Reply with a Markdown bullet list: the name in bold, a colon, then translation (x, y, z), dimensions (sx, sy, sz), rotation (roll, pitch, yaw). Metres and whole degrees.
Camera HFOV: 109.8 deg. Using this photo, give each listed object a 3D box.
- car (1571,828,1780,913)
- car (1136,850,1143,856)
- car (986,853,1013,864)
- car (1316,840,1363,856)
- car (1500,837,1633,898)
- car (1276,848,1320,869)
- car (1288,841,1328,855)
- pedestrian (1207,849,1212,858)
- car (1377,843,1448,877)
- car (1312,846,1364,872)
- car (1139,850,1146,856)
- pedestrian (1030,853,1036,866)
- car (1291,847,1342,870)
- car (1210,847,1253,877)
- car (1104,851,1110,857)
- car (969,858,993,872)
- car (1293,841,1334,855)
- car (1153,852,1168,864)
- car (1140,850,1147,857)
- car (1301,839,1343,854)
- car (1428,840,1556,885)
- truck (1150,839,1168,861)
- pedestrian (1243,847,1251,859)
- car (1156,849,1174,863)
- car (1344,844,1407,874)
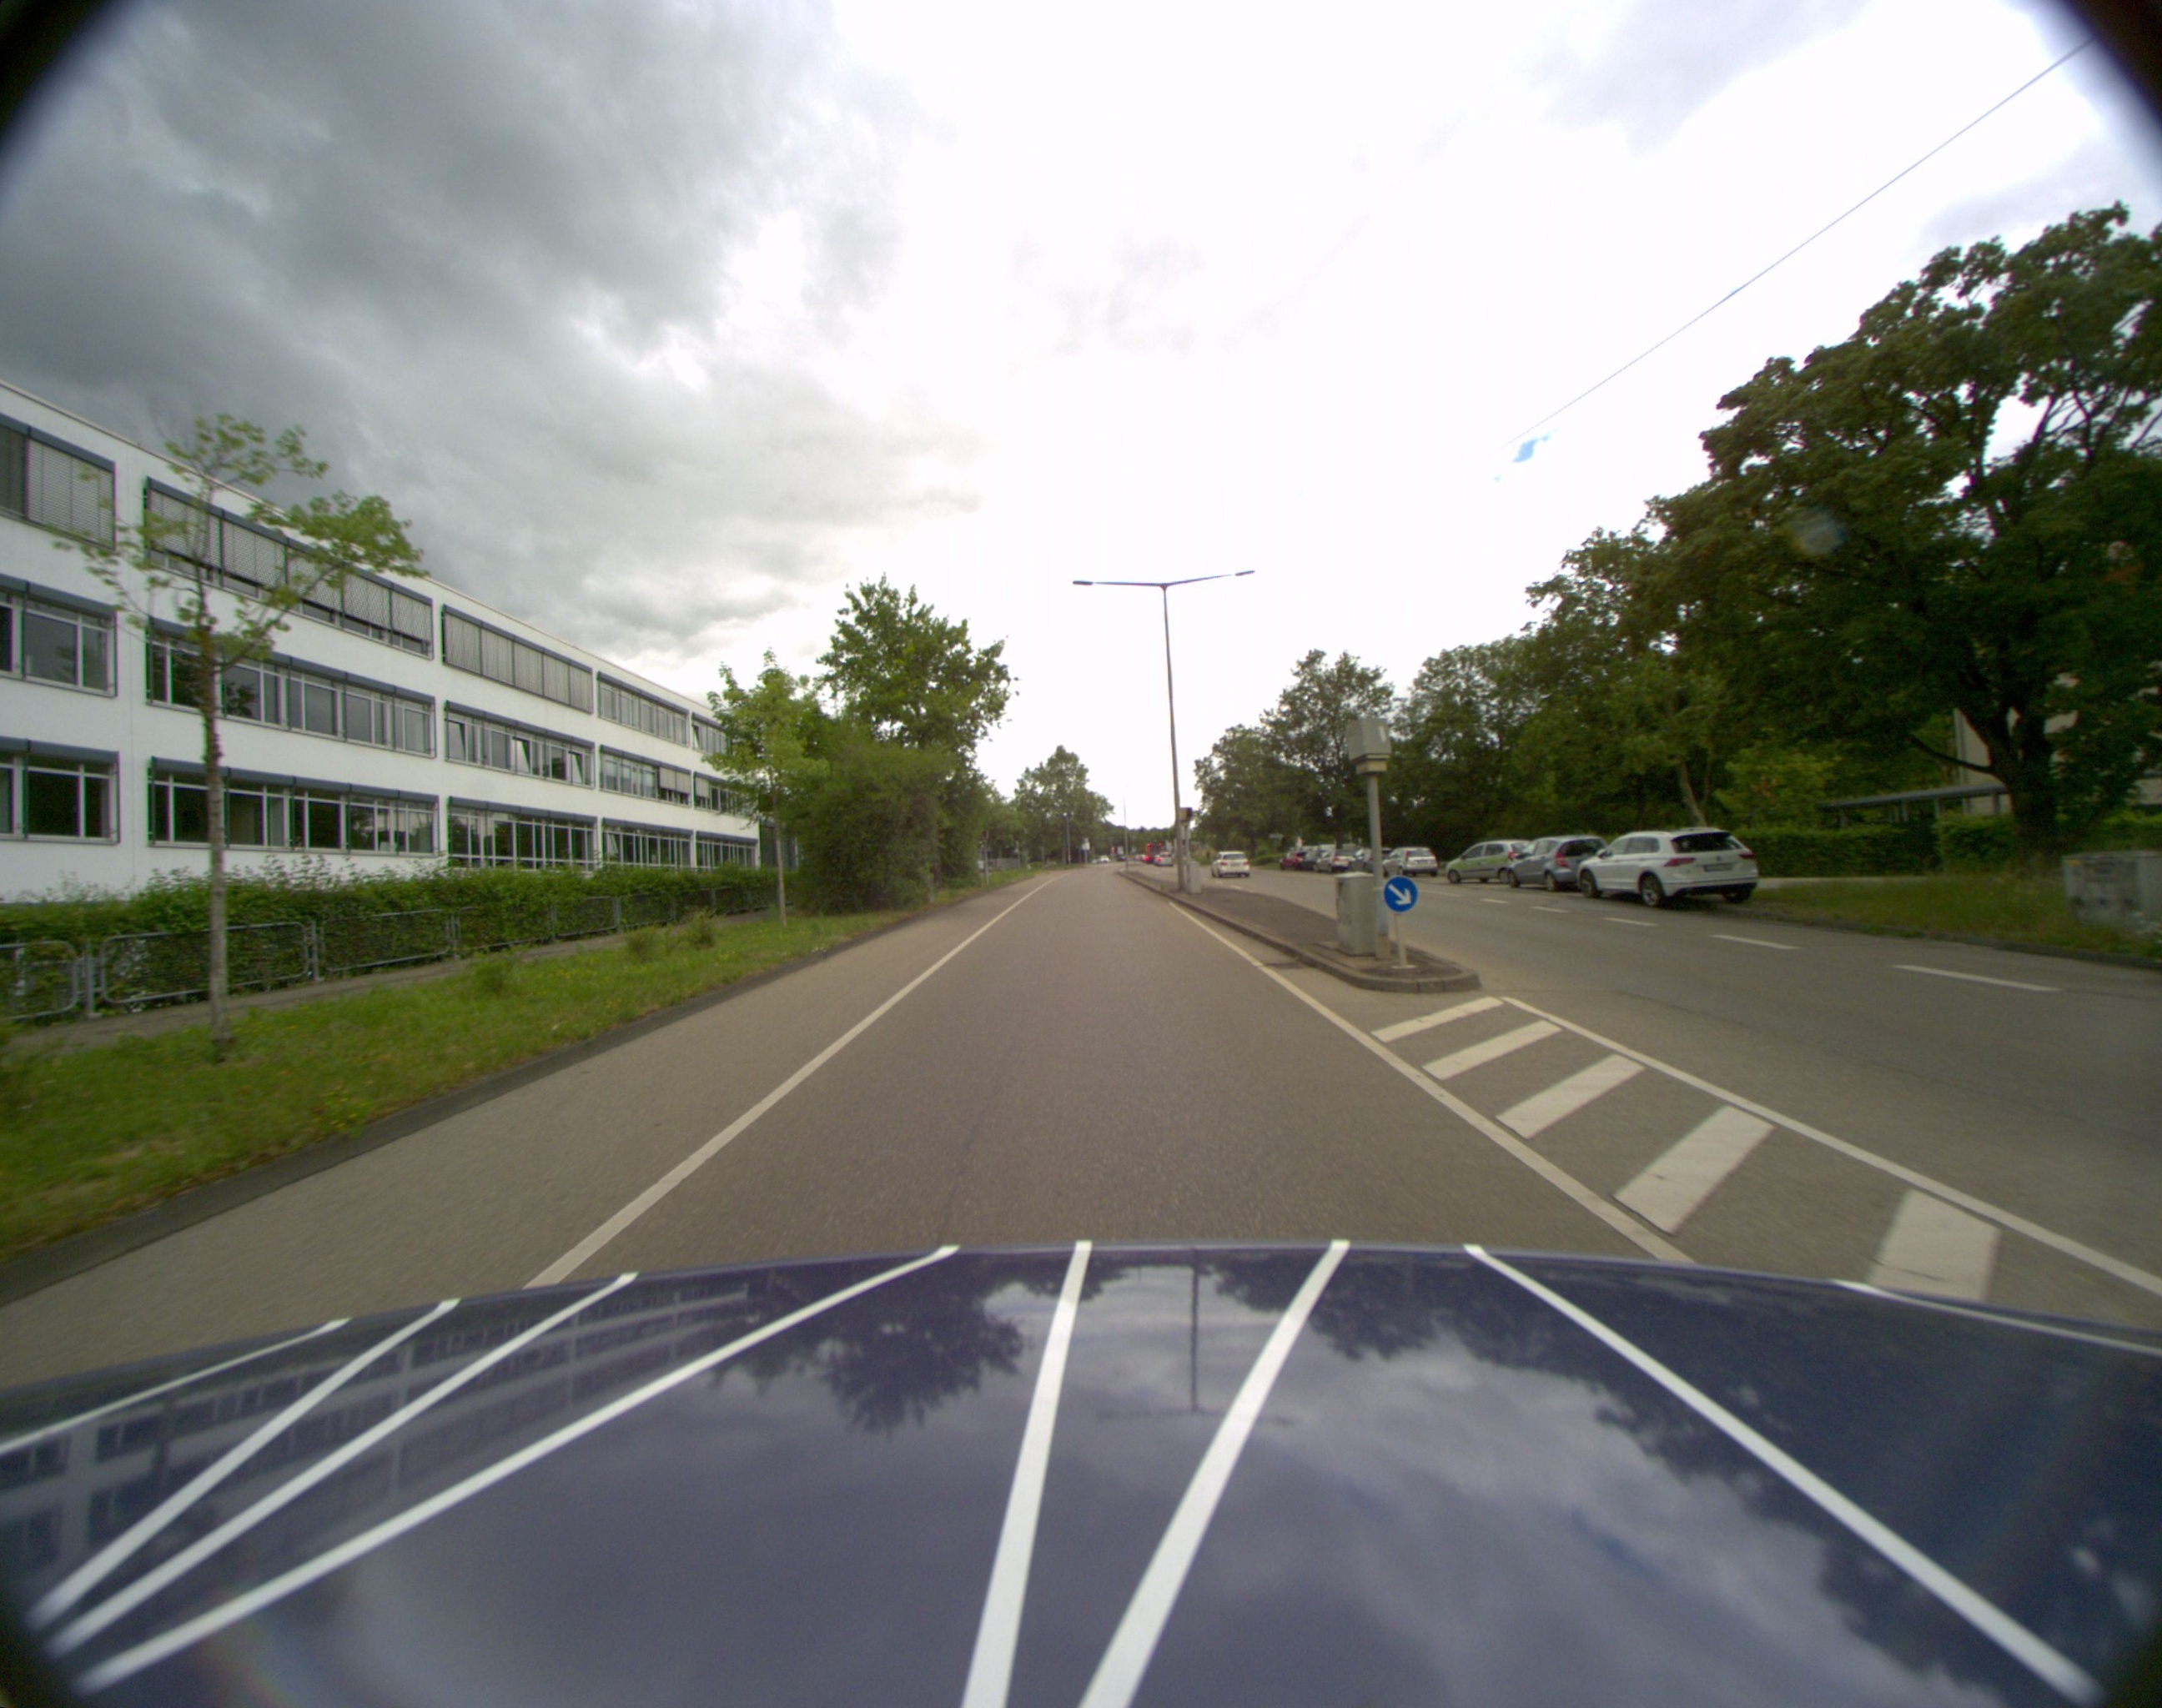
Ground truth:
- **car**: translation (13.558, 0.315, 17.723), dimensions (1.879, 1.657, 4.393), rotation (-3, 1, 8)
- **car**: translation (15.038, -0.226, 195.562), dimensions (1.591, 1.608, 3.585), rotation (-2, 0, 5)
- **car**: translation (-13.535, 0.827, 126.329), dimensions (4.188, 1.439, 1.819), rotation (-5, -1, 0)
- **car**: translation (32.892, -0.755, 96.777), dimensions (5.297, 2.002, 2.011), rotation (-1, 1, 0)
- **car**: translation (14.560, 0.344, 23.064), dimensions (1.879, 1.587, 4.001), rotation (-3, 1, 8)
- **car**: translation (16.521, 0.333, 58.044), dimensions (1.881, 1.498, 3.886), rotation (-3, 0, -6)
- **car**: translation (32.955, -0.826, 110.183), dimensions (5.297, 2.002, 1.739), rotation (-1, 1, 0)
- **pedestrian**: translation (21.137, -0.161, 124.969), dimensions (0.757, 1.439, 0.639), rotation (-3, 1, 1)
- **car**: translation (16.234, 0.287, 37.467), dimensions (1.879, 1.498, 4.001), rotation (-2, 0, 3)
- **car**: translation (16.209, 0.315, 48.179), dimensions (1.880, 1.498, 4.056), rotation (-3, 0, 0)
- **car**: translation (15.432, -0.270, 189.751), dimensions (1.591, 1.608, 3.585), rotation (-2, 0, 5)
- **pedestrian**: translation (-6.616, 0.728, 105.186), dimensions (0.734, 1.717, 0.501), rotation (-1, 1, -2)
- **car**: translation (16.617, 0.303, 53.794), dimensions (1.881, 1.498, 3.997), rotation (-3, 0, -8)
- **car**: translation (8.960, 0.461, 45.488), dimensions (1.879, 1.561, 4.339), rotation (-3, 1, 3)
- **car**: translation (6.885, 0.021, 201.432), dimensions (1.591, 1.480, 3.583), rotation (-2, 0, 0)
- **car**: translation (-11.326, 1.273, 86.238), dimensions (1.851, 1.408, 4.981), rotation (-4, 0, 2)
- **car**: translation (32.998, -0.863, 108.121), dimensions (5.297, 2.002, 1.739), rotation (-1, 1, 0)
- **car**: translation (10.985, 0.534, 104.674), dimensions (1.733, 1.477, 4.123), rotation (-1, 0, 2)
- **car**: translation (14.528, -0.040, 176.536), dimensions (1.591, 1.608, 3.585), rotation (-2, 0, 5)
- **car**: translation (33.214, -1.021, 104.846), dimensions (5.297, 2.002, 1.739), rotation (-1, 1, 1)
- **car**: translation (15.301, 0.322, 28.531), dimensions (1.882, 1.498, 3.994), rotation (-2, 0, -18)
- **truck**: translation (13.228, -0.664, 129.857), dimensions (2.831, 3.460, 7.825), rotation (-2, 0, 5)
- **pedestrian**: translation (23.609, -0.112, 108.073), dimensions (0.757, 1.727, 0.638), rotation (-3, 1, -7)
- **car**: translation (10.985, 0.239, 99.248), dimensions (1.833, 1.759, 4.406), rotation (-3, 0, 0)
- **car**: translation (16.367, 0.275, 42.450), dimensions (1.880, 1.498, 4.000), rotation (-3, 0, 0)
